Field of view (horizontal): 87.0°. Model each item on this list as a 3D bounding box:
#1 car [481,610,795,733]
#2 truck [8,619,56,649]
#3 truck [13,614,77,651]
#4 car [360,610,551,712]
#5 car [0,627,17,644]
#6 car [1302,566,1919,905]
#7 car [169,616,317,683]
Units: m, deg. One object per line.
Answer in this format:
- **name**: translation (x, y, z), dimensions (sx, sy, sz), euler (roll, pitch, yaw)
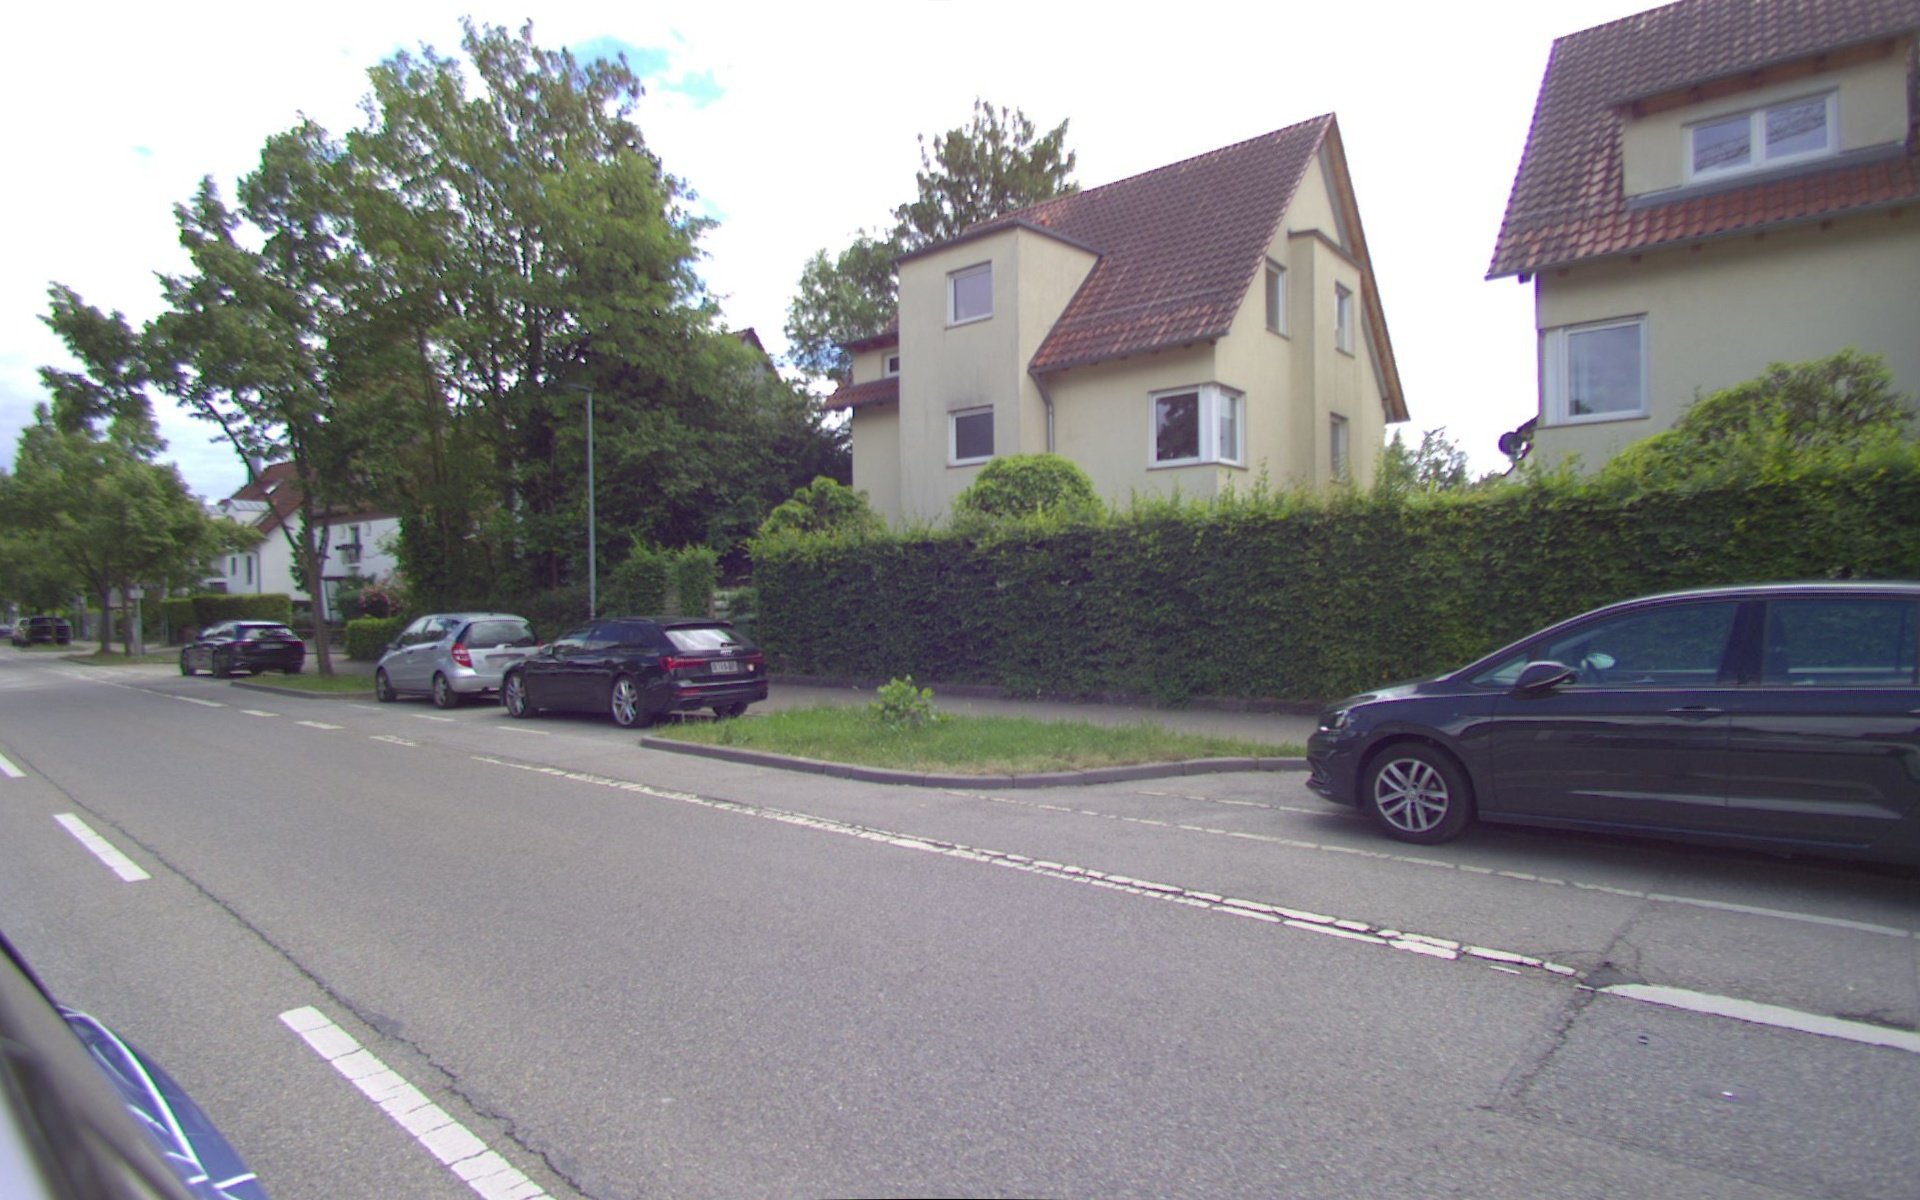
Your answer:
- **car**: translation (-4.776, 0.923, 14.635), dimensions (4.884, 1.496, 1.974), euler (-1, -1, 39)
- **truck**: translation (-61.175, 2.224, 66.684), dimensions (5.666, 1.882, 1.945), euler (-1, -2, 44)
- **truck**: translation (-55.737, 1.947, 61.608), dimensions (5.995, 2.059, 2.396), euler (-2, -1, 43)
- **car**: translation (-9.055, 1.015, 18.051), dimensions (3.908, 1.625, 1.700), euler (-1, -1, 41)
- **car**: translation (-81.921, 3.021, 86.416), dimensions (4.927, 1.419, 1.727), euler (-1, -2, 43)
- **car**: translation (4.374, 0.638, 5.780), dimensions (4.269, 1.563, 1.660), euler (-2, -1, 40)
- **car**: translation (-19.558, 1.303, 27.521), dimensions (5.033, 1.659, 2.074), euler (-2, -2, 40)
